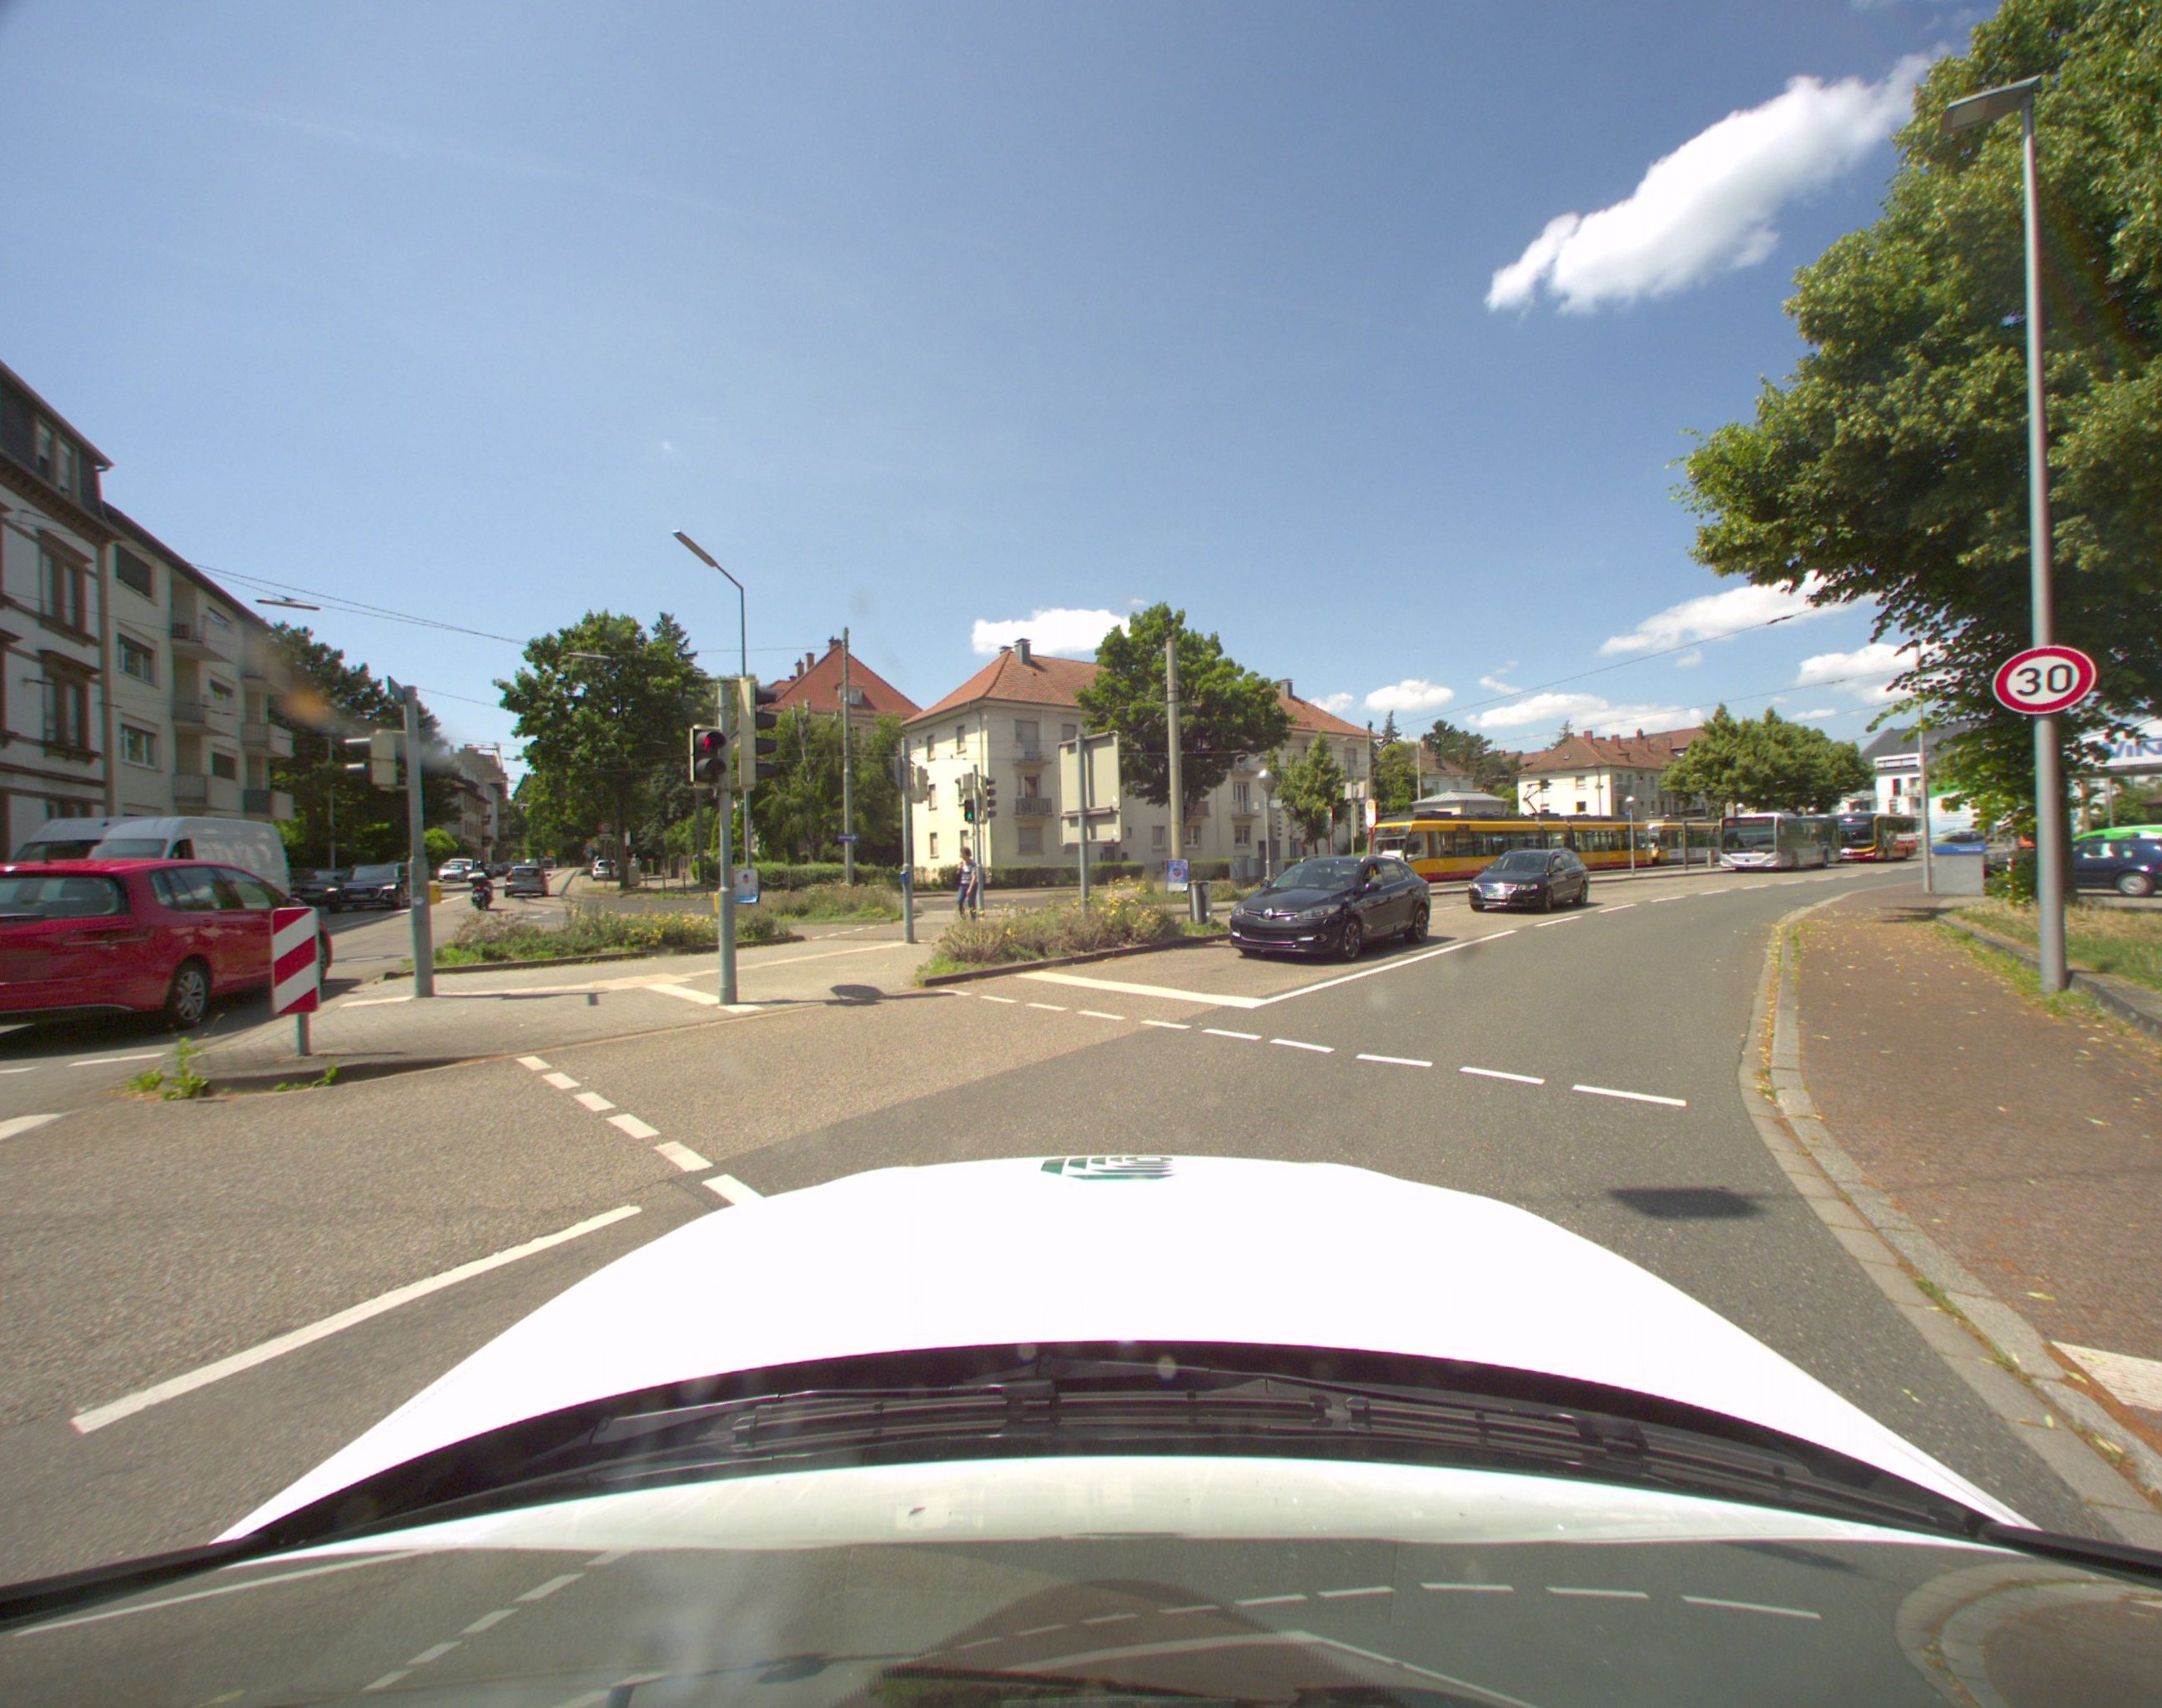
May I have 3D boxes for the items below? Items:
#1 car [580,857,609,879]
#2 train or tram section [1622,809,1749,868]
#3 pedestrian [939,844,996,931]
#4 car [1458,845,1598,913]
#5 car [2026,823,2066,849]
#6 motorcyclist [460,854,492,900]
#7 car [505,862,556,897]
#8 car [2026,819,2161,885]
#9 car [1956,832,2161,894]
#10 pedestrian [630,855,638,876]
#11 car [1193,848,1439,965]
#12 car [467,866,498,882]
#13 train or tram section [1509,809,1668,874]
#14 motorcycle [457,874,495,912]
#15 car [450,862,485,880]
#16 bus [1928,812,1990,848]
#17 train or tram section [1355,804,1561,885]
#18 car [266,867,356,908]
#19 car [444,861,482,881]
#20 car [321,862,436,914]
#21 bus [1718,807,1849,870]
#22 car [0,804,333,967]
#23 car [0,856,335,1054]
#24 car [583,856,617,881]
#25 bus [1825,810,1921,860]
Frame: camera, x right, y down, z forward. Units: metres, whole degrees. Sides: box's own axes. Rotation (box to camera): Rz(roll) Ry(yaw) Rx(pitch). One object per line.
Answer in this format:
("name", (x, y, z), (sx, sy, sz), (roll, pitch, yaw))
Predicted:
("car", (-42.986, 1.227, 71.924), (2.007, 1.906, 3.959), (0, 0, -33))
("train or tram section", (44.299, -1.130, 59.330), (15.618, 3.895, 2.764), (-1, 0, -36))
("pedestrian", (-2.306, 0.657, 16.570), (0.753, 1.705, 0.843), (-1, 0, 42))
("car", (11.462, 0.553, 20.735), (1.975, 1.519, 4.539), (-1, 0, 44))
("car", (79.773, -1.485, 67.309), (4.017, 1.981, 1.794), (-1, 0, -36))
("motorcyclist", (-19.800, 0.740, 26.661), (0.715, 1.445, 1.009), (-1, 0, -30))
("car", (-26.467, 1.171, 39.250), (1.810, 1.558, 3.998), (-1, 0, -31))
("car", (30.553, -0.061, 23.598), (1.827, 1.794, 4.032), (-2, -1, 6))
("car", (25.731, 0.224, 20.844), (1.897, 1.439, 4.154), (-1, -1, -13))
("pedestrian", (-35.683, 0.890, 65.020), (0.511, 1.656, 0.461), (0, 0, -28))
("car", (3.877, 0.683, 12.925), (1.975, 1.500, 4.453), (-1, 0, 42))
("car", (-60.528, 2.015, 82.382), (1.808, 1.558, 4.001), (2, -2, -27))
("train or tram section", (31.316, -0.773, 49.788), (14.768, 3.568, 2.764), (-1, 0, -36))
("motorcycle", (-19.850, 1.253, 26.746), (0.715, 1.134, 2.176), (-1, 0, -30))
("car", (-54.708, 1.528, 72.692), (1.808, 1.558, 4.001), (2, -2, -27))
("bus", (83.807, -2.284, 77.658), (11.097, 3.219, 2.709), (-1, 0, -36))
("train or tram section", (19.536, -0.522, 41.361), (14.241, 3.568, 2.788), (-1, 0, -36))
("car", (-31.502, 1.332, 33.463), (2.008, 1.510, 3.958), (-1, 0, -33))
("car", (-51.190, 1.366, 67.518), (1.808, 1.558, 4.001), (2, -2, -27))
("car", (-24.402, 1.110, 28.481), (1.861, 1.557, 4.251), (-3, 1, -24))
("bus", (39.006, -0.858, 44.995), (12.060, 3.129, 2.709), (-1, 0, -36))
("car", (-18.222, 0.515, 16.728), (2.229, 2.500, 7.485), (-5, 2, -28))
("car", (-9.442, 0.813, 8.200), (1.809, 1.558, 4.002), (0, 0, -27))
("car", (-35.864, 1.062, 60.642), (2.007, 1.807, 3.959), (0, 0, -33))
("bus", (54.868, -1.293, 56.275), (12.060, 3.129, 2.709), (-1, 0, -36))
